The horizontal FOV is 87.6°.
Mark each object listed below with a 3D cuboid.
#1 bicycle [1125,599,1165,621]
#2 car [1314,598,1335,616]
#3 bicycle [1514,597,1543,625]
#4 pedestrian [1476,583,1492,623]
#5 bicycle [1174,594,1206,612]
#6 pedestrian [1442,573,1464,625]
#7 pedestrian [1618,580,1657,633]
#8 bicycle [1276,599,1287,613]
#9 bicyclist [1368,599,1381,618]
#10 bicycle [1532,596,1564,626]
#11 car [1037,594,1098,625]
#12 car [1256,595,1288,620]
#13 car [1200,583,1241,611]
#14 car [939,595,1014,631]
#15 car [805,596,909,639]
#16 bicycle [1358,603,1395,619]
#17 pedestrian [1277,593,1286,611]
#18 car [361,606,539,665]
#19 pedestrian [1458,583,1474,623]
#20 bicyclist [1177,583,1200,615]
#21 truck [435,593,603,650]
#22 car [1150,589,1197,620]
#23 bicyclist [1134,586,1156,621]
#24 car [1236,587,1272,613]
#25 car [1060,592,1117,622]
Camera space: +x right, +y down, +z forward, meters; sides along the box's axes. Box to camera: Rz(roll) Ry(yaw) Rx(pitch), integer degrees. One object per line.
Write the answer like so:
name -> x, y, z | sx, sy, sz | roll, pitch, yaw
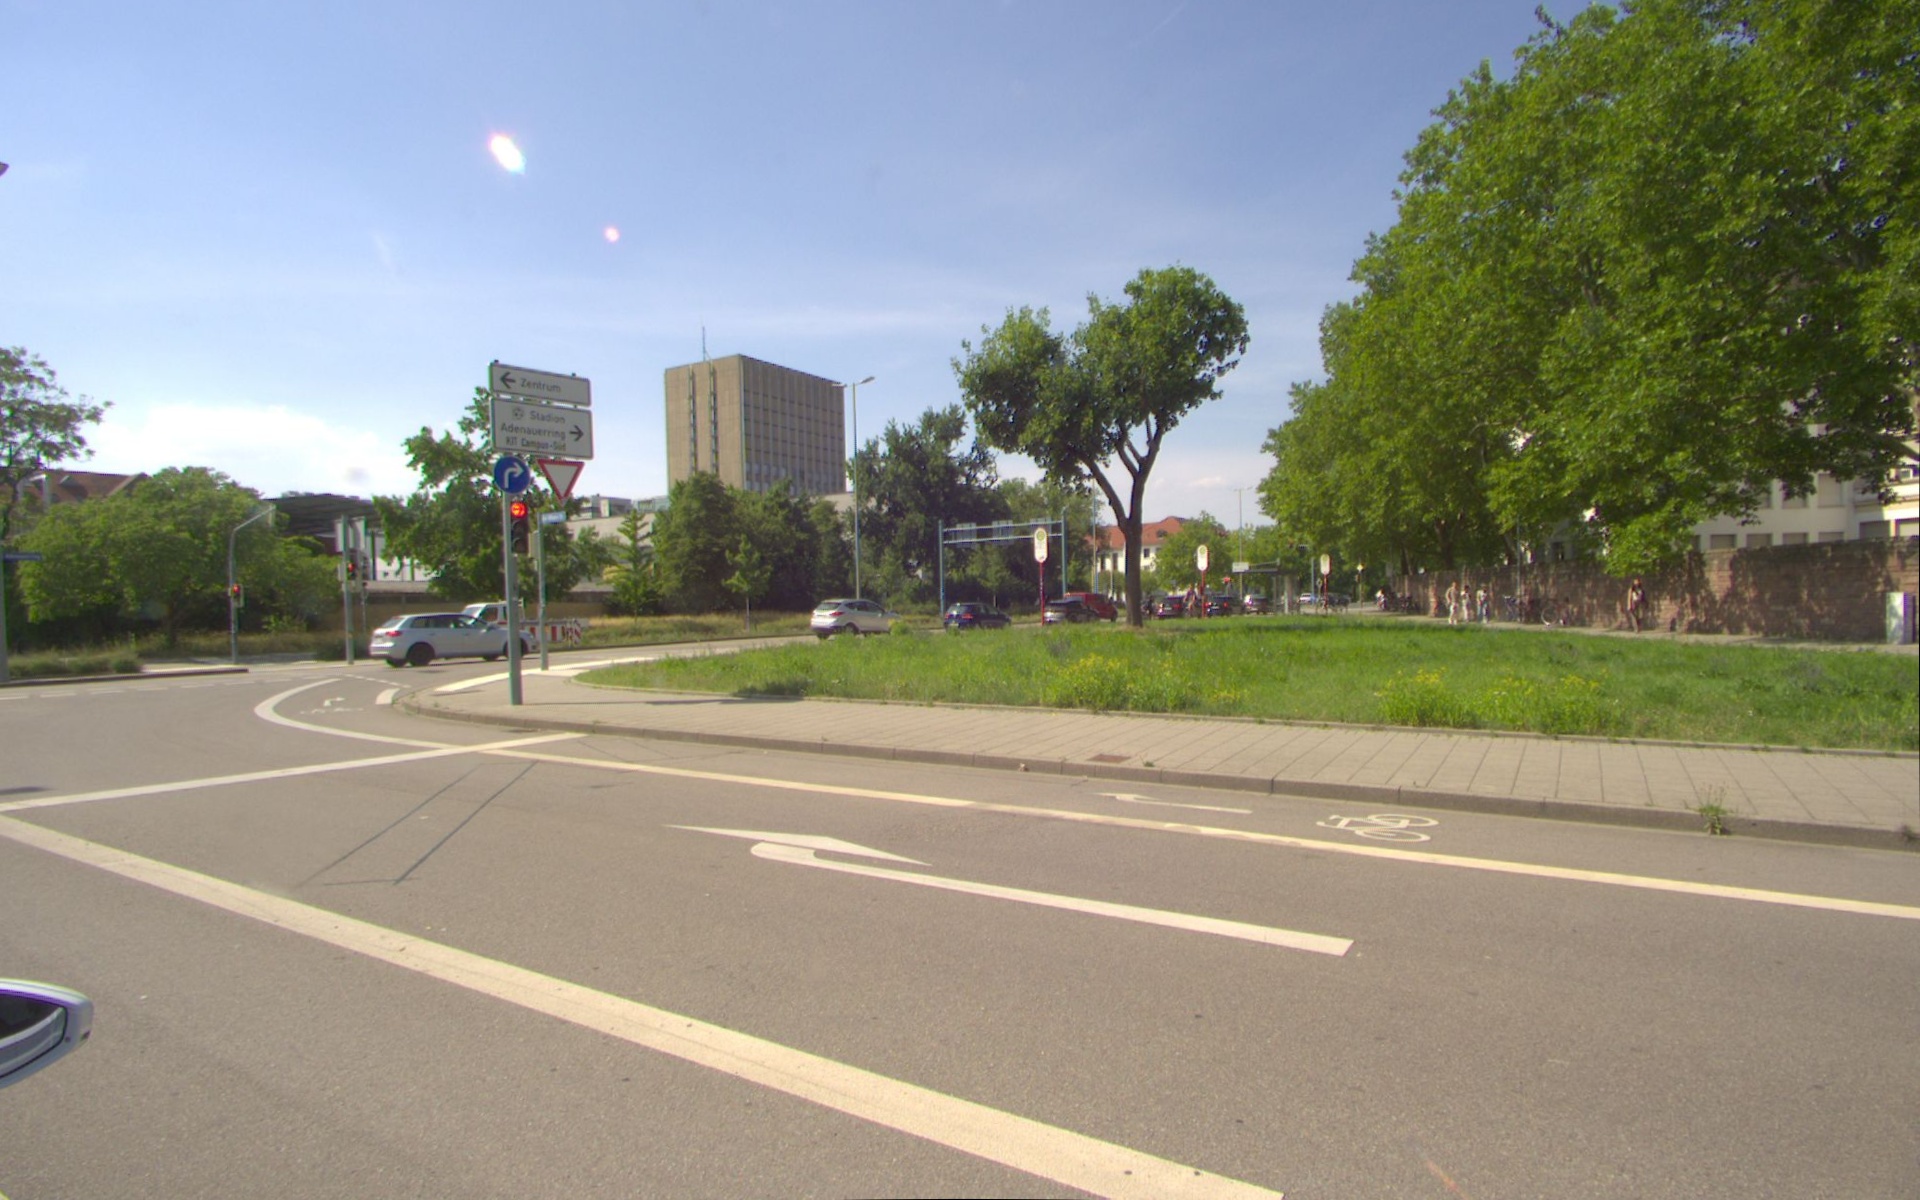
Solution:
bicycle -> 10.947, 0.599, 59.096 | 0.838, 1.233, 3.462 | -1, -2, 37
car -> 44.442, 0.898, 122.092 | 1.968, 2.039, 3.987 | -1, -2, 26
bicycle -> 21.803, 0.410, 38.425 | 0.439, 1.047, 1.447 | -1, 1, 6
pedestrian -> 21.295, 0.120, 40.719 | 0.515, 1.599, 0.701 | -1, 1, 23
bicycle -> 12.103, 0.177, 52.687 | 1.912, 0.899, 0.679 | -2, 1, -42
pedestrian -> 19.748, -0.032, 40.106 | 0.513, 2.040, 0.596 | -2, 1, -9
pedestrian -> 20.364, 0.186, 30.110 | 0.493, 1.569, 0.913 | -1, 1, -4
bicycle -> 25.735, 0.507, 80.050 | 0.552, 1.066, 1.318 | -1, 1, 30
bicyclist -> 44.856, 0.926, 108.419 | 1.160, 2.039, 1.094 | -1, -1, 29
bicycle -> 21.665, 0.402, 36.904 | 0.439, 1.047, 1.447 | -1, 1, 6
car -> 6.051, 0.514, 56.052 | 1.564, 1.612, 3.972 | -1, 1, 37
car -> 27.489, 0.680, 88.152 | 1.970, 2.039, 3.984 | -1, -2, 29
car -> 19.618, -0.240, 75.270 | 1.970, 2.041, 3.980 | -1, 1, 30
car -> 0.837, 0.588, 48.134 | 1.564, 1.612, 3.972 | -1, 1, 37
car -> -4.255, 0.682, 41.843 | 1.693, 1.640, 4.178 | 0, 1, 44
bicycle -> 45.040, 1.162, 108.291 | 3.583, 1.626, 1.092 | -1, -2, 29
pedestrian -> 25.721, 0.156, 80.037 | 0.552, 1.458, 0.729 | 0, 1, 30
car -> -14.122, 0.929, 27.901 | 1.567, 1.439, 4.135 | 0, 1, 42
pedestrian -> 20.625, 0.126, 40.852 | 0.515, 1.599, 0.701 | -1, 1, 23
bicyclist -> 11.897, -0.048, 52.209 | 1.068, 1.659, 0.486 | -1, 1, 29
truck -> -20.440, 0.918, 46.817 | 2.379, 2.387, 7.007 | -1, 1, 33
car -> 14.592, 0.293, 68.322 | 1.970, 2.041, 3.980 | -1, 1, 30
bicyclist -> 10.935, 0.212, 59.086 | 0.769, 2.039, 1.265 | -1, -2, 38
car -> 24.219, -0.014, 82.480 | 1.970, 2.041, 3.980 | -1, 1, 30
car -> 8.363, 0.437, 64.833 | 1.950, 1.821, 4.587 | -1, 1, 31
